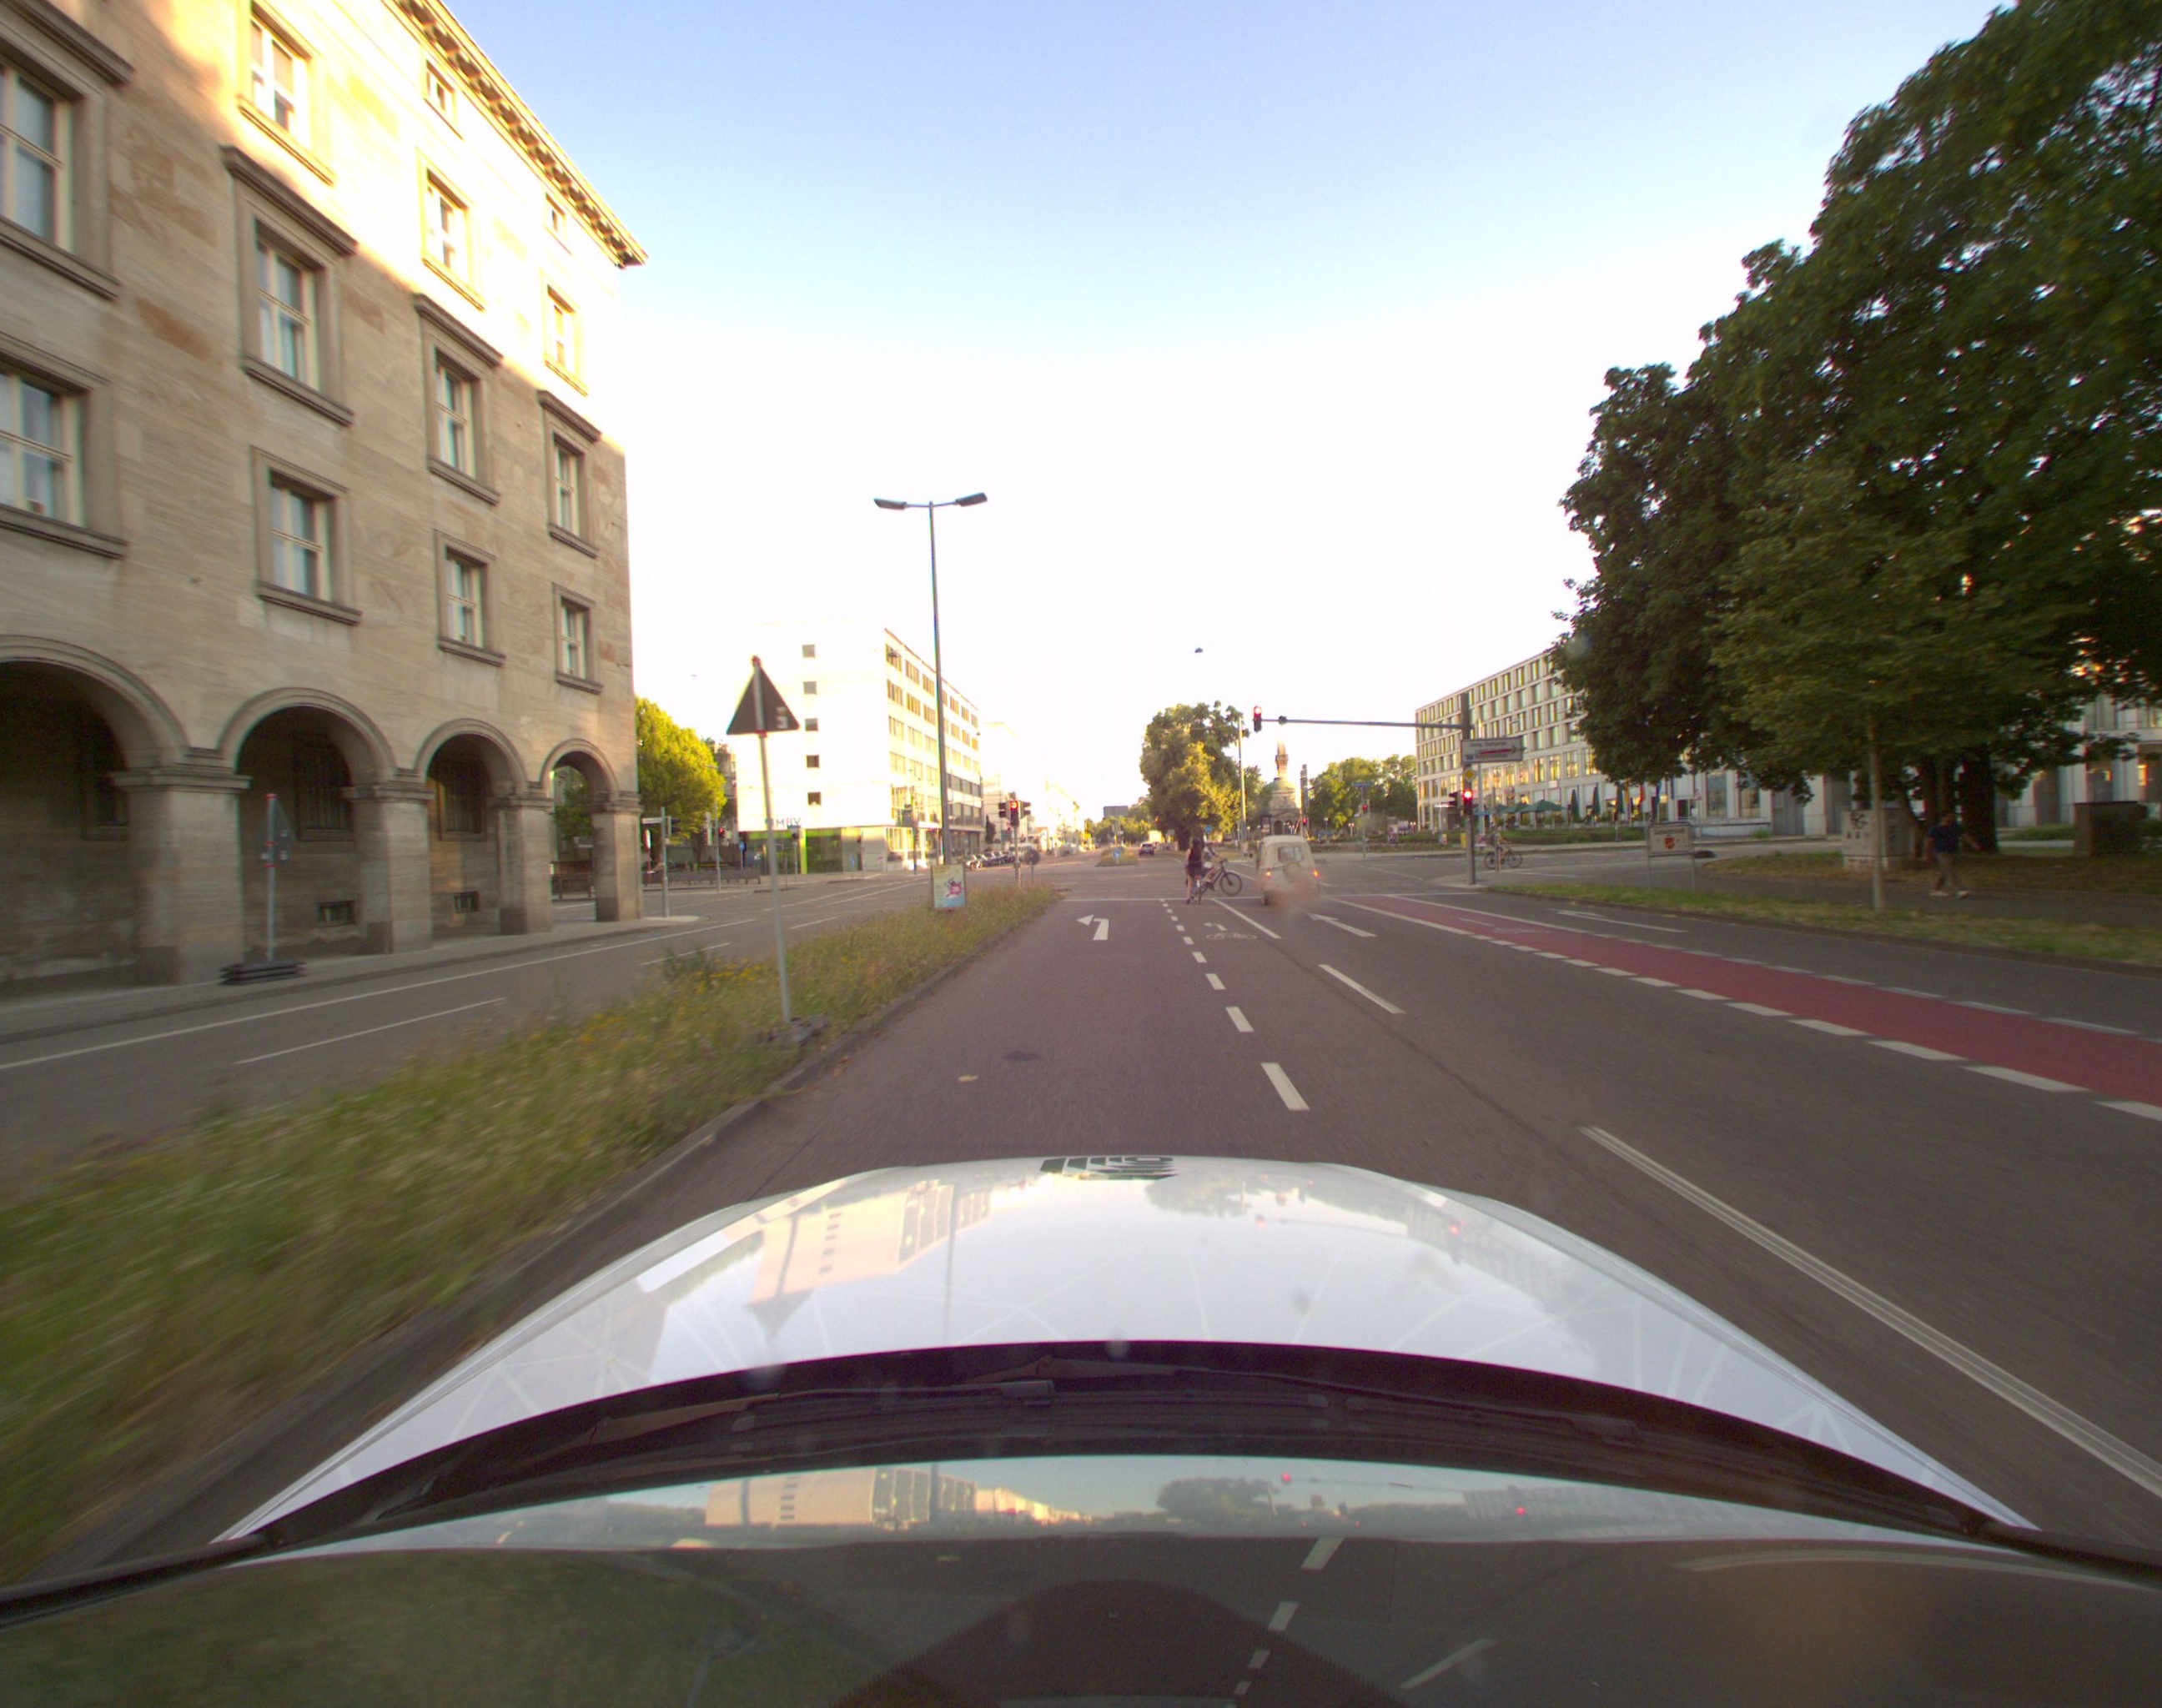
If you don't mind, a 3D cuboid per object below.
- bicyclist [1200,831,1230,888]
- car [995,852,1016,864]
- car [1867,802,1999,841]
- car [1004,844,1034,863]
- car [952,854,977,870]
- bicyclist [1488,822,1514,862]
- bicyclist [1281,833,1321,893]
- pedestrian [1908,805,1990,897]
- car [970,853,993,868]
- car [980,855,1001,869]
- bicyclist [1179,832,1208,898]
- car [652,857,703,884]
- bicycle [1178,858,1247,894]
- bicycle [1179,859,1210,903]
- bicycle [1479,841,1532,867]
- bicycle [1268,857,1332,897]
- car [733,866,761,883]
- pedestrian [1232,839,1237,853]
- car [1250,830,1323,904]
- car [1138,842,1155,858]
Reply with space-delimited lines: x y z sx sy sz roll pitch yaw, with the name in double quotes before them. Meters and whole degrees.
"bicyclist" 4.121 0.173 25.033 0.740 1.693 0.719 -3 0 18
"car" -9.658 0.526 104.726 1.787 1.475 4.007 -3 -2 6
"car" 40.616 -1.537 38.877 4.526 1.648 1.996 -2 0 -5
"car" -8.421 -0.077 111.276 2.161 2.385 6.012 -3 -2 14
"car" -11.652 0.853 81.637 1.789 1.475 4.002 -3 -2 2
"bicyclist" 18.165 -0.532 35.238 0.742 1.693 0.716 -2 0 6
"bicyclist" 6.413 0.247 23.754 0.767 1.693 0.742 -2 0 -27
"pedestrian" 16.515 -0.055 15.510 0.692 1.693 0.749 -2 0 2
"car" -10.791 0.766 88.427 1.789 1.475 4.002 -3 -2 2
"car" -10.286 0.905 92.912 1.789 1.475 4.002 -3 -2 2
"bicyclist" 2.973 0.278 21.552 0.625 1.693 0.749 -2 0 2
"car" -33.130 1.299 67.042 1.986 2.013 4.003 -3 0 2
"bicycle" 4.060 0.670 25.074 1.998 1.069 0.734 0 1 19
"bicycle" 3.017 0.696 21.868 0.634 1.069 2.071 -1 1 3
"bicycle" 18.358 -0.003 35.214 1.887 1.069 0.732 -2 0 5
"bicycle" 6.376 0.649 23.845 0.732 1.069 1.886 -1 1 -27
"car" -24.161 1.471 59.026 0.850 1.073 2.523 -3 0 2
"pedestrian" 19.324 -1.002 102.517 0.506 1.668 0.531 -2 0 2
"car" 5.299 0.278 21.243 1.452 1.780 2.569 -2 1 5
"car" 8.521 -0.505 106.506 1.986 2.013 4.002 -3 0 2
